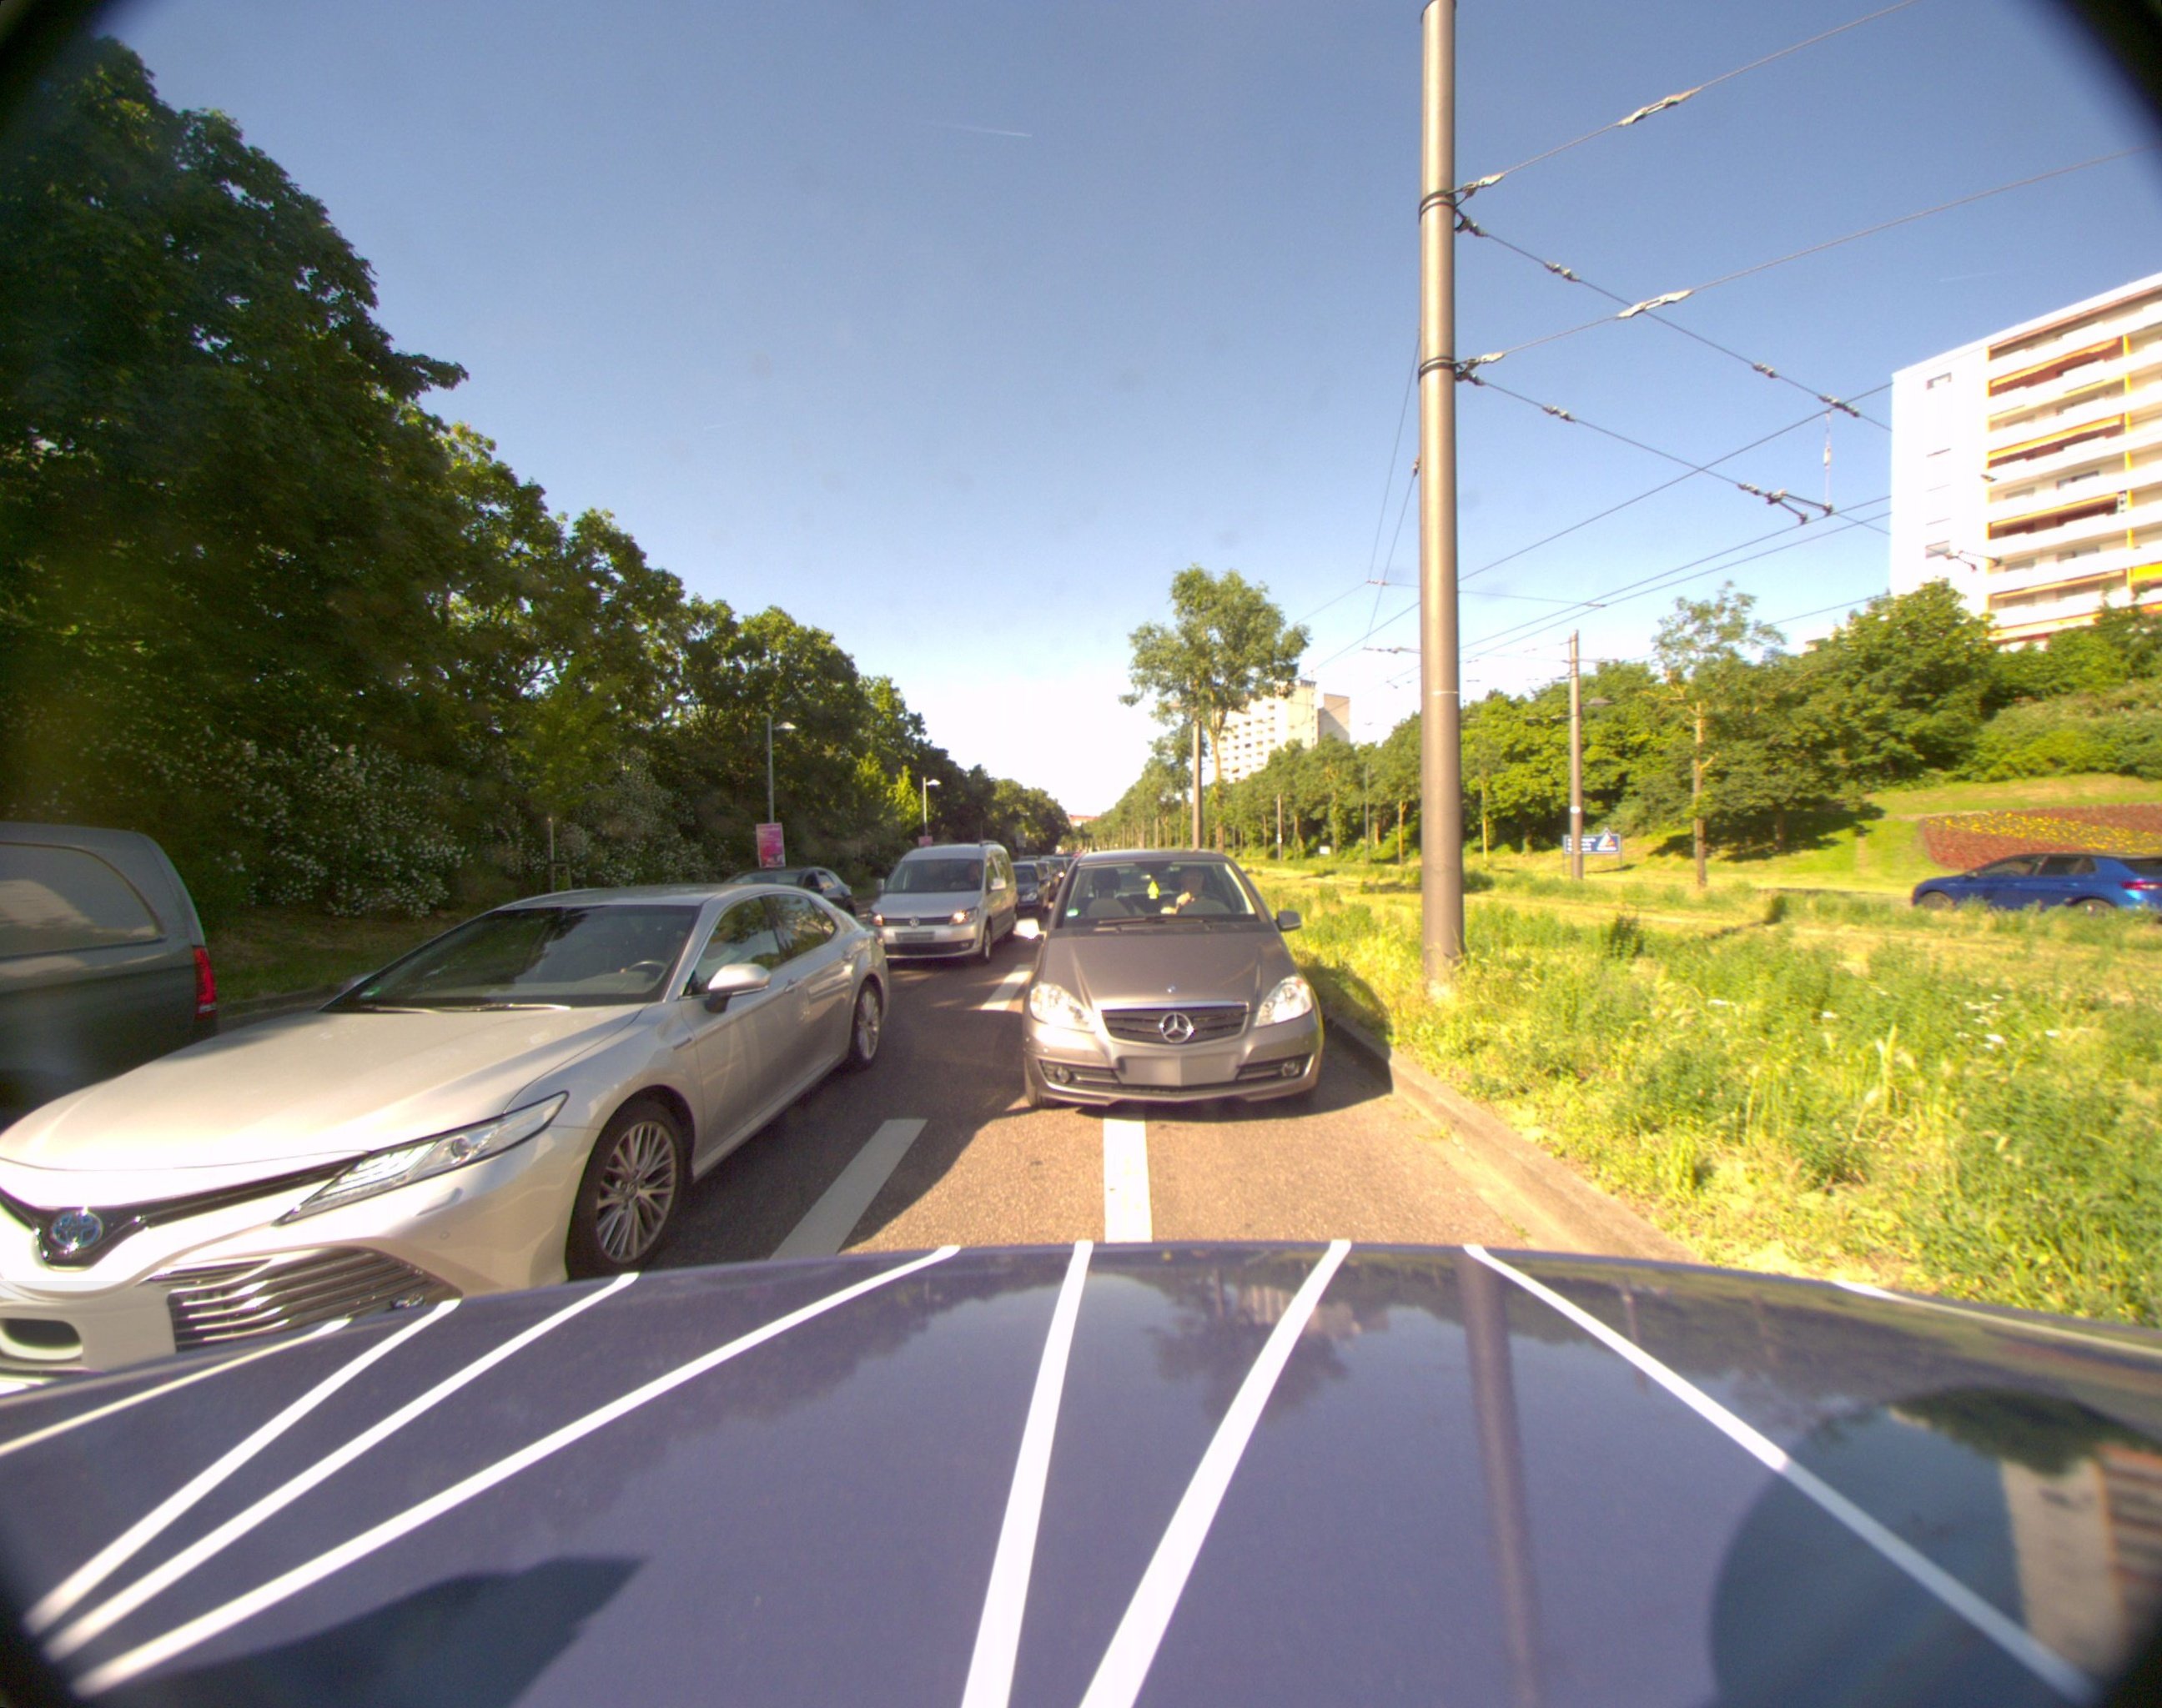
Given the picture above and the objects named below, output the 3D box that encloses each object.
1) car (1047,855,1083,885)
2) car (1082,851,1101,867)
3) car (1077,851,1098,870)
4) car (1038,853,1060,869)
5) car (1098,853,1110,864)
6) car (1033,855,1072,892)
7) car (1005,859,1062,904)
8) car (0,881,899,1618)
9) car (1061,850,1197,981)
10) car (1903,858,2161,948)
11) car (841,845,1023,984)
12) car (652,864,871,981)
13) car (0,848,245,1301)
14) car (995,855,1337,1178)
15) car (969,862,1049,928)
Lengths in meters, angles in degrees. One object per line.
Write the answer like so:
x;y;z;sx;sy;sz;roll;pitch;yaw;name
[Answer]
-0.803;0.791;40.177;1.713;1.430;4.171;-2;0;1;car
1.067;0.486;73.650;1.685;1.437;3.727;-2;1;2;car
0.574;0.503;64.101;1.685;1.437;3.727;-2;1;2;car
-2.965;0.635;71.097;1.749;1.427;4.386;-2;1;2;car
3.479;0.615;115.504;1.749;1.652;4.000;-1;0;1;car
-1.261;0.855;34.905;1.621;1.485;3.452;-2;1;0;car
-1.630;0.946;27.349;1.723;1.411;4.050;-1;0;1;car
-2.541;1.011;4.079;1.809;1.484;4.682;-2;0;2;car
0.670;0.813;12.101;1.749;1.652;3.999;-2;1;1;car
18.378;0.809;14.369;1.577;1.412;3.910;-1;0;3;car
-2.172;0.792;12.483;1.808;1.811;4.587;-2;1;3;car
-5.128;1.000;12.910;1.772;1.499;4.225;-2;1;2;car
-5.375;0.909;1.426;1.808;1.841;5.104;0;0;3;car
0.476;0.861;6.011;1.749;1.630;4.000;-2;0;1;car
-1.745;0.974;19.559;1.717;1.445;4.197;-1;0;-1;car
